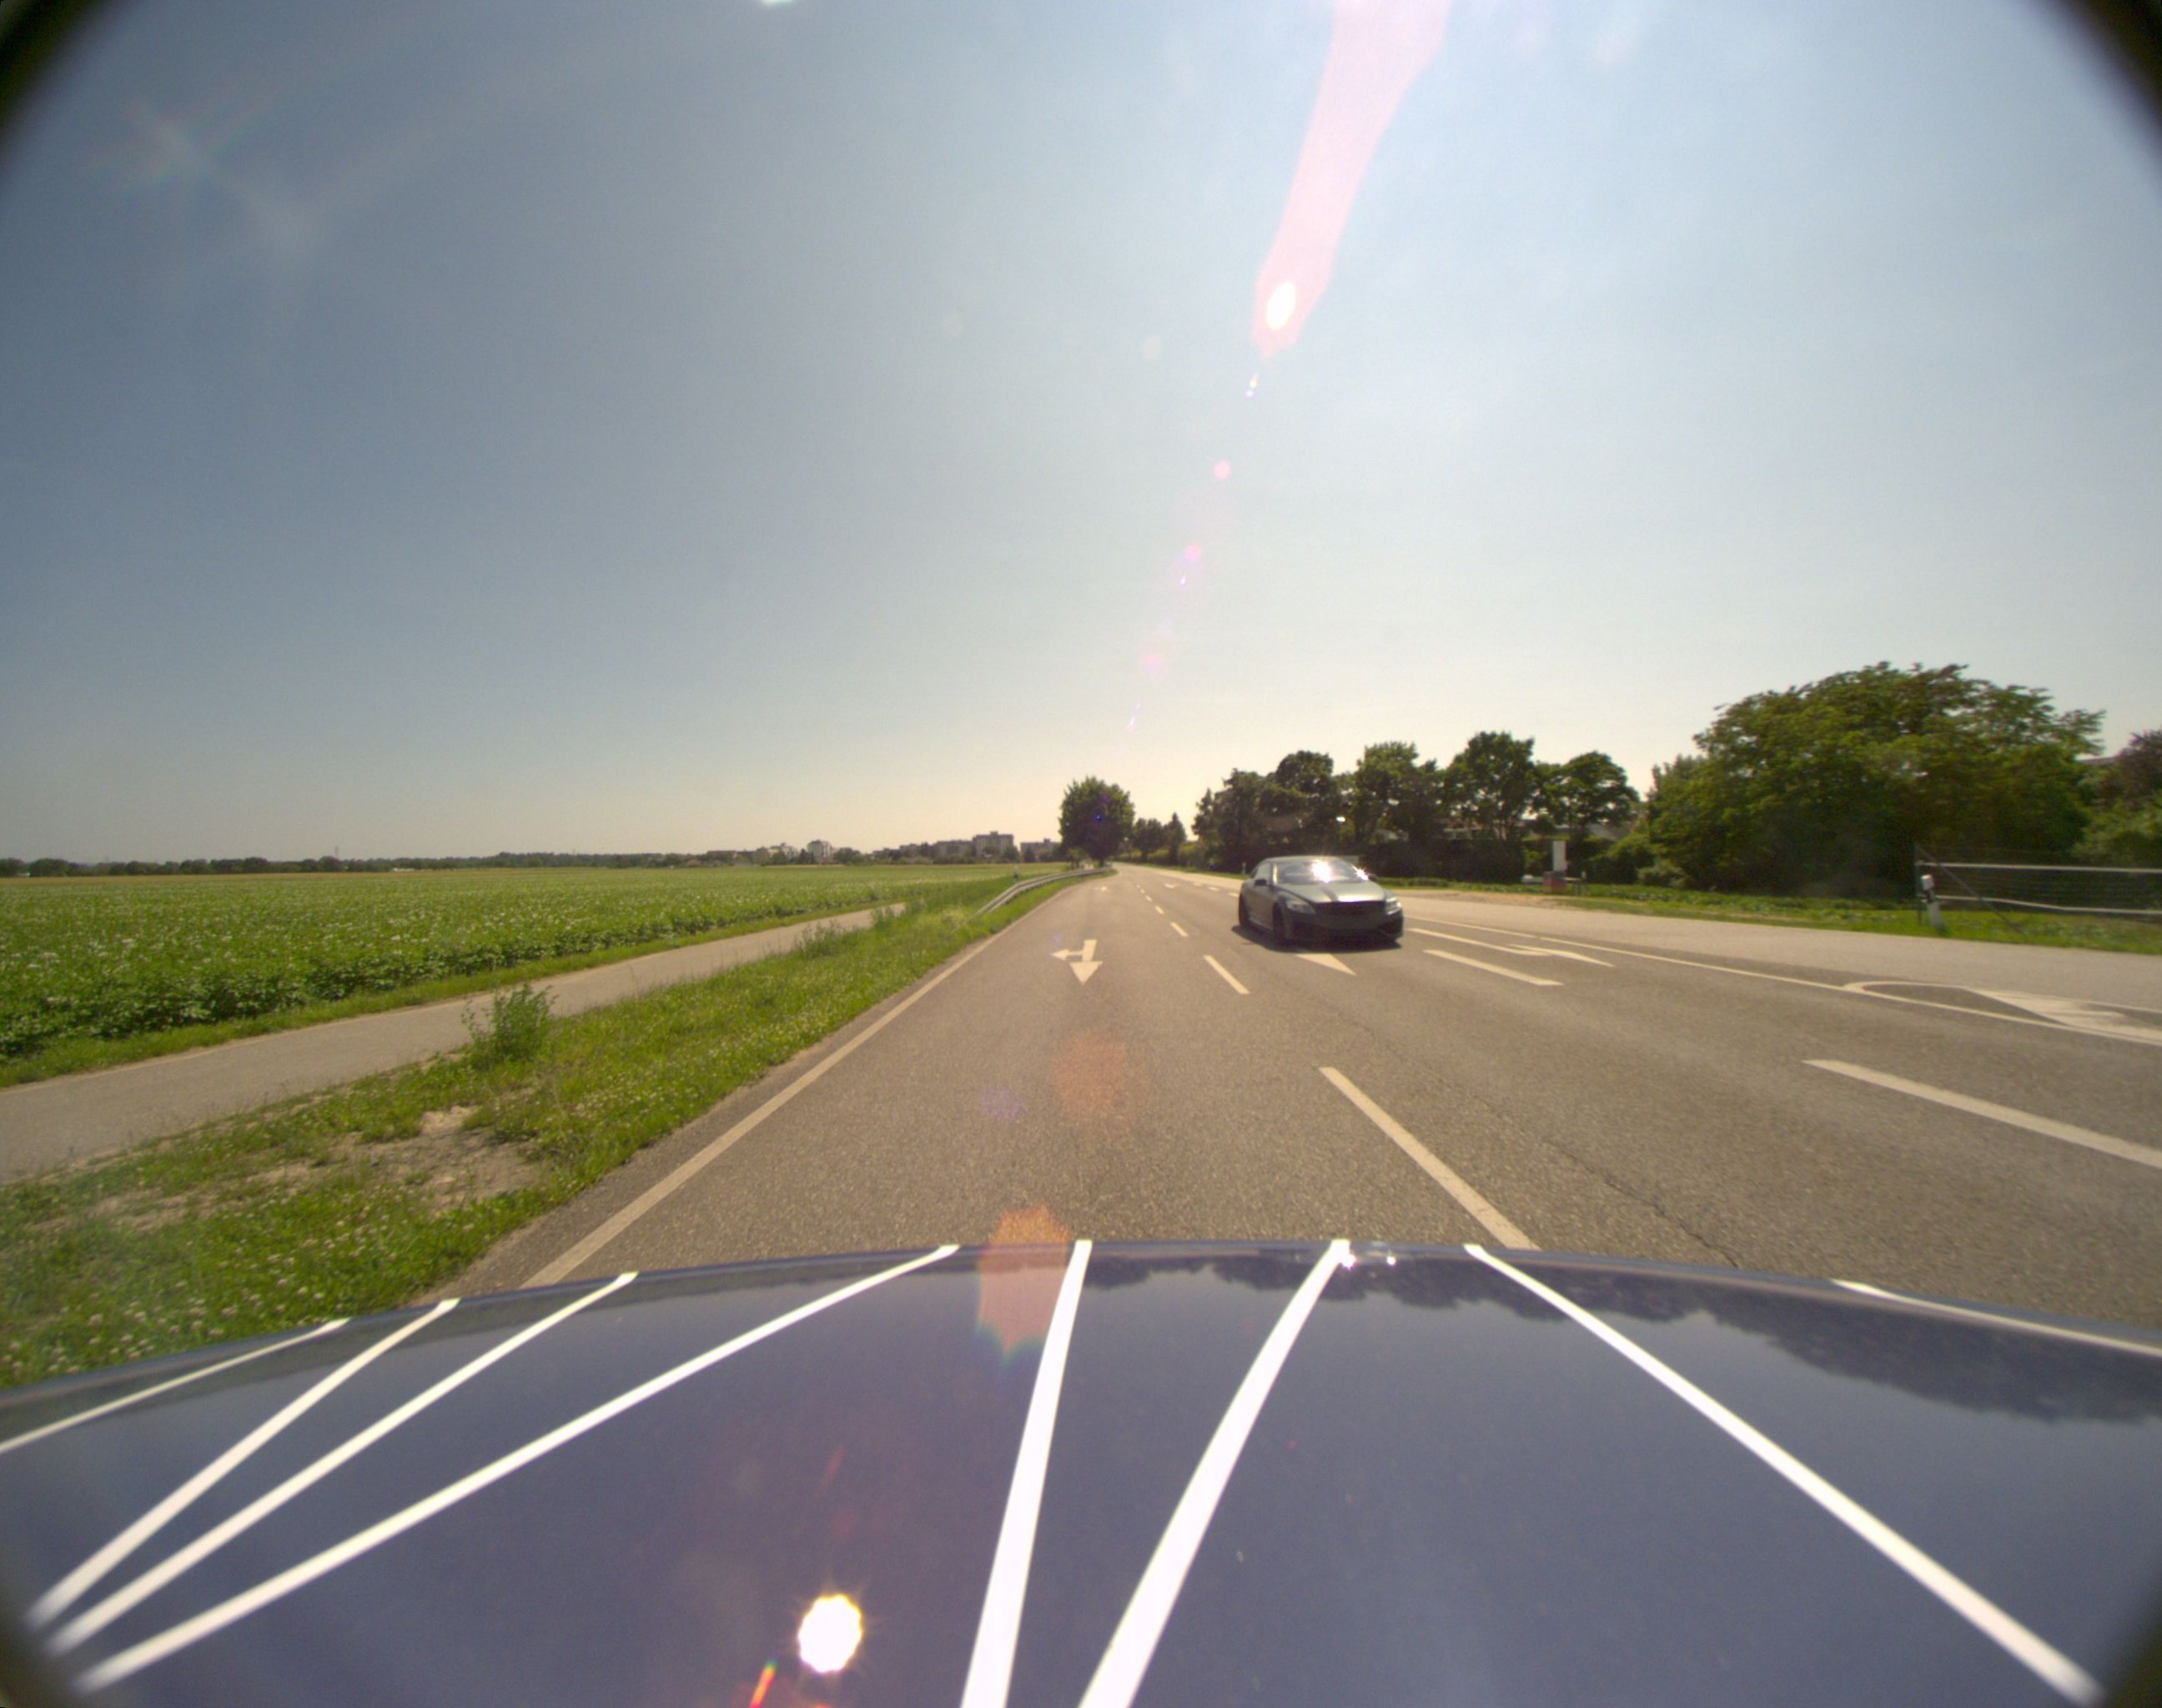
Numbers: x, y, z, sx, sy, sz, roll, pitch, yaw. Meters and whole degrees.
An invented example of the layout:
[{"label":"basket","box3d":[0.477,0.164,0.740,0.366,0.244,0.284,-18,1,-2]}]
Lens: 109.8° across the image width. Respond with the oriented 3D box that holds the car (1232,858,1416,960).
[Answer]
[{"label":"car","box3d":[4.068,0.827,13.649,1.815,1.441,4.877,-2,0,1]}]
